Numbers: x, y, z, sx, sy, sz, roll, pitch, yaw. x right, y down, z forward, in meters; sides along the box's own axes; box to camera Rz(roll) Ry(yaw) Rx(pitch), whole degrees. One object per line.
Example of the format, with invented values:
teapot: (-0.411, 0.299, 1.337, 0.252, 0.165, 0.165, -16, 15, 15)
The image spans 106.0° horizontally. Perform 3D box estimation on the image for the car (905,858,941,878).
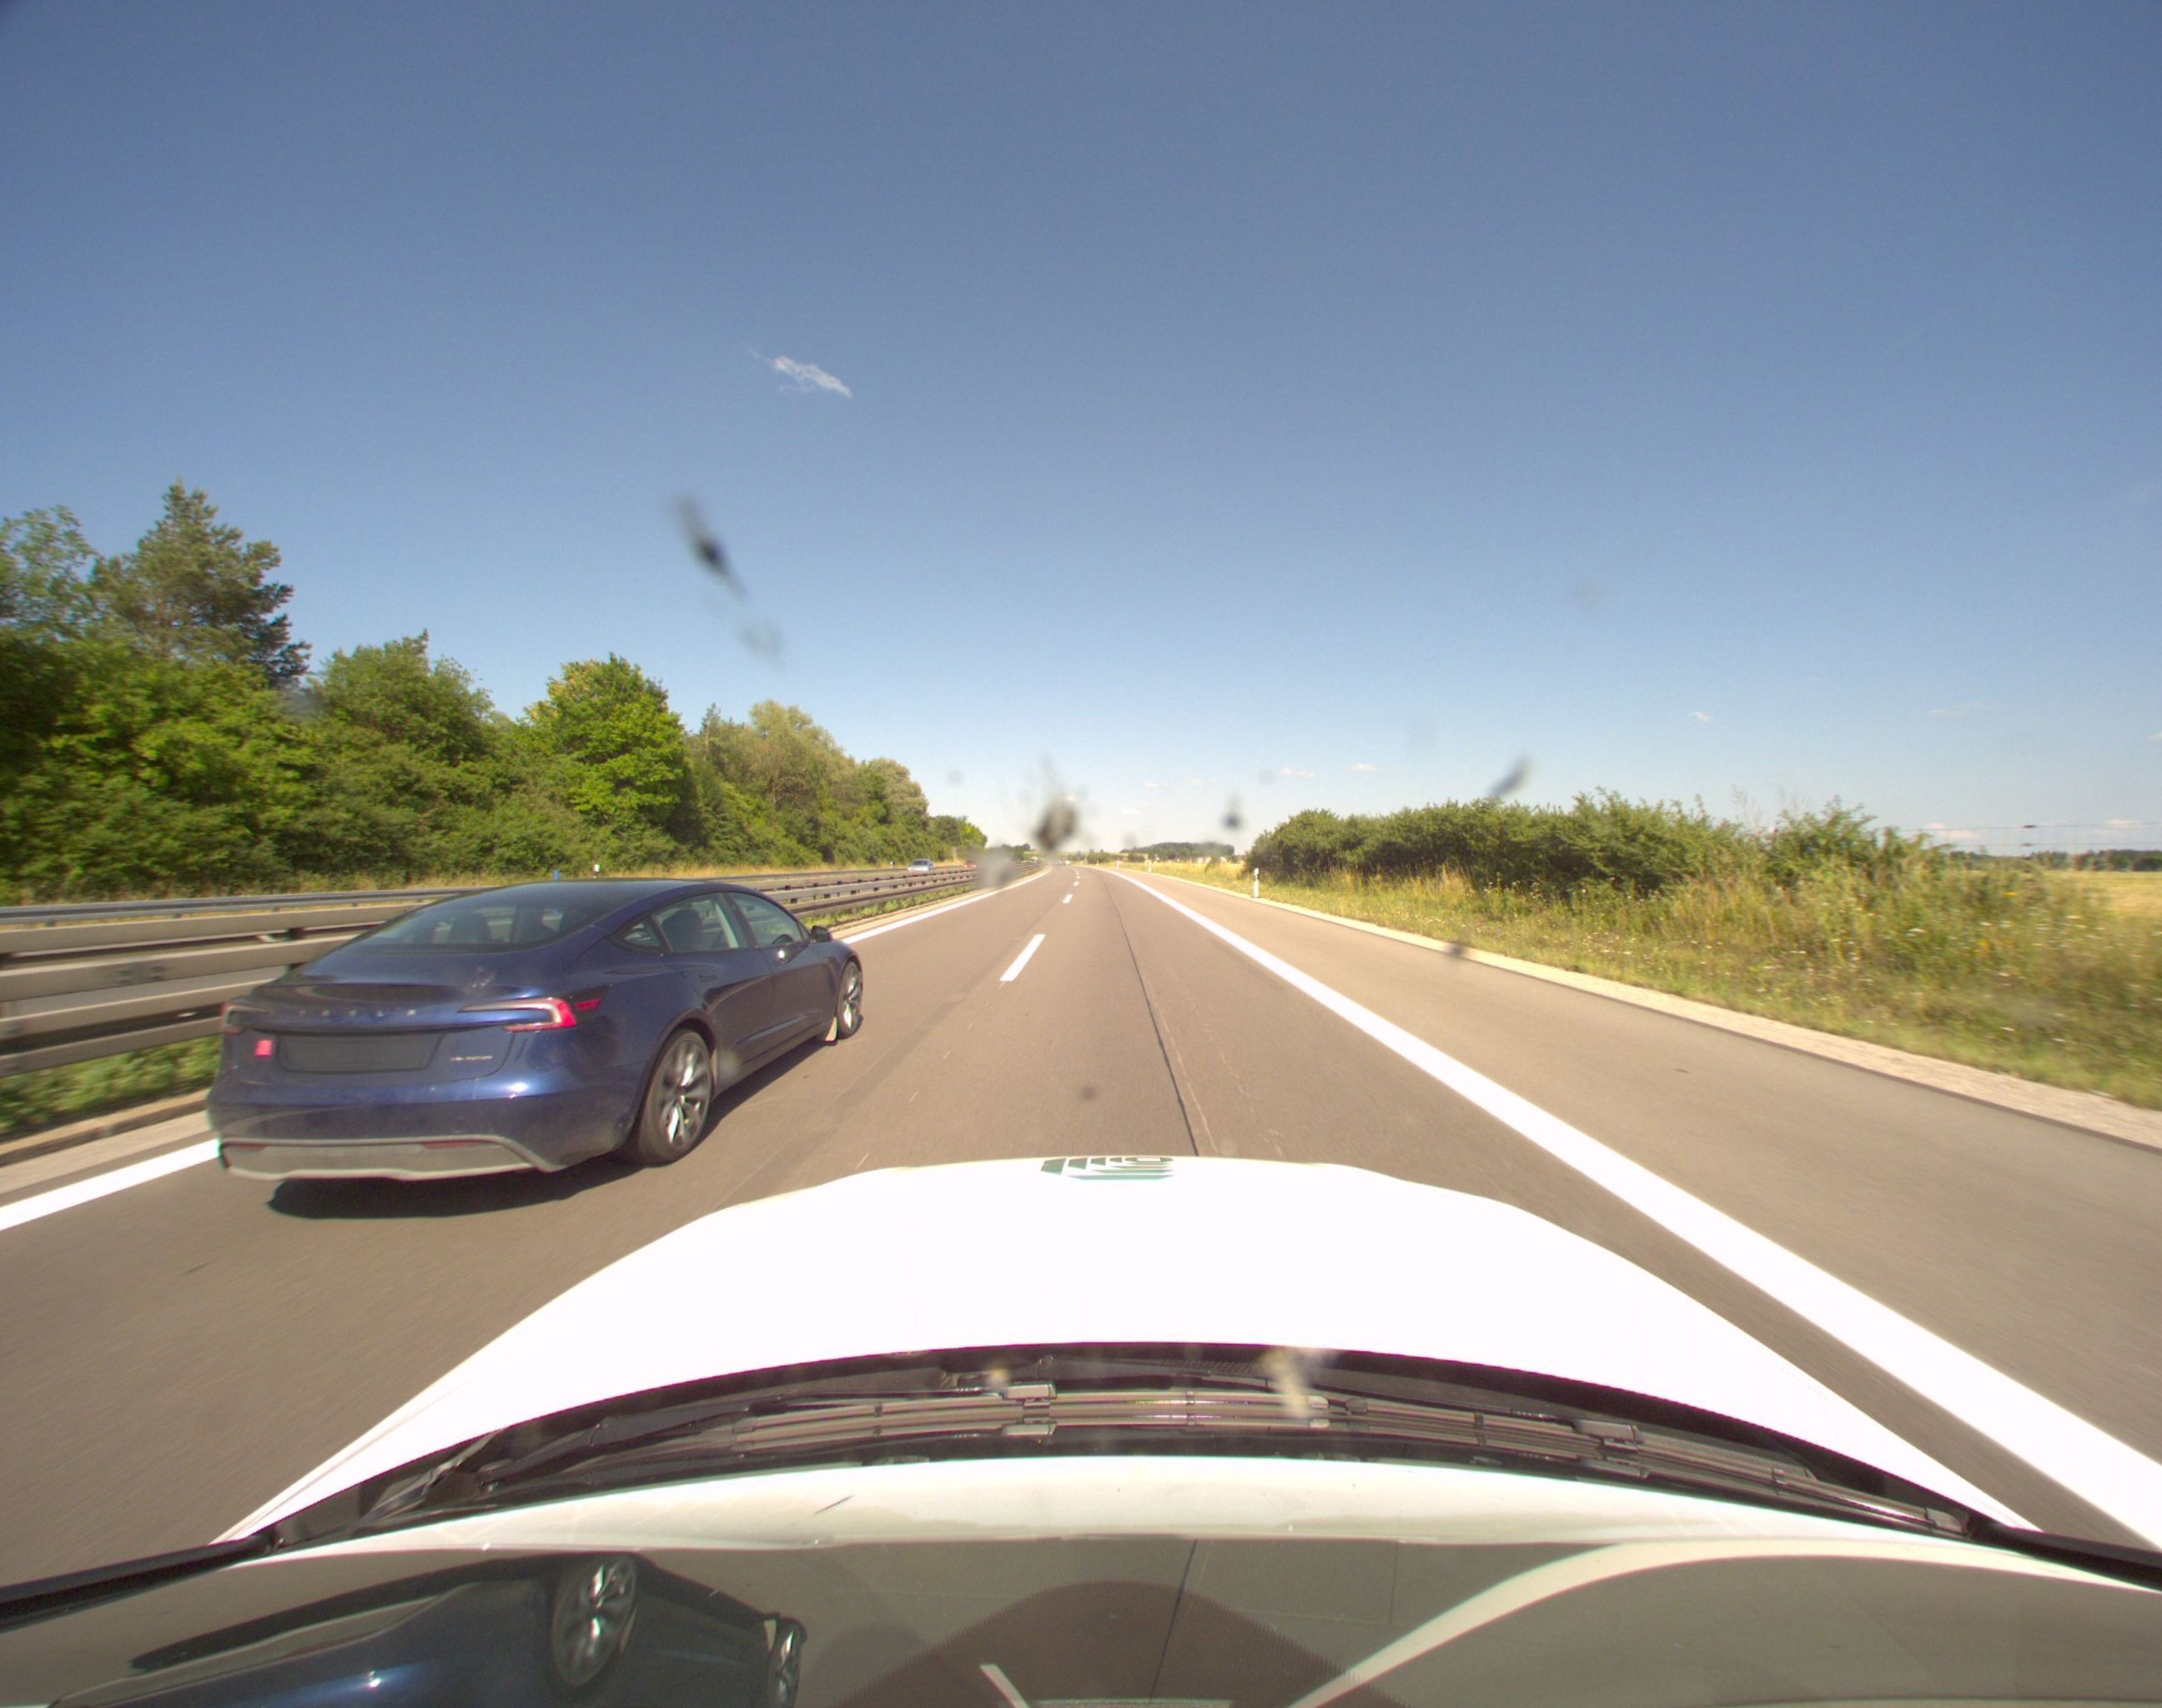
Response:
car: (-13.338, 1.149, 68.999, 1.986, 1.612, 4.637, -1, 0, 1)

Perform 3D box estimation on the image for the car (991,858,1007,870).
car: (-10.805, 1.284, 107.713, 1.644, 1.493, 4.538, -1, 0, 0)

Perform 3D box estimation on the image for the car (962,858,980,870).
car: (-13.979, 1.269, 103.464, 1.644, 1.493, 4.538, -1, 0, 0)

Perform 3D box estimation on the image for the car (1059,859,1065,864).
car: (-5.971, 2.415, 258.622, 1.672, 1.453, 3.589, -1, -1, -2)

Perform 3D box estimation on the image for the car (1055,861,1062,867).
car: (-5.528, 2.411, 198.482, 1.671, 1.453, 3.590, -1, -1, -1)

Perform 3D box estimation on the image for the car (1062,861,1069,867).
car: (-4.048, 2.600, 216.037, 1.673, 1.453, 3.586, -1, -1, -4)

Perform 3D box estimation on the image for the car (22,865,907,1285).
car: (-2.872, 0.840, 5.892, 1.841, 1.433, 5.866, -1, 0, 1)
